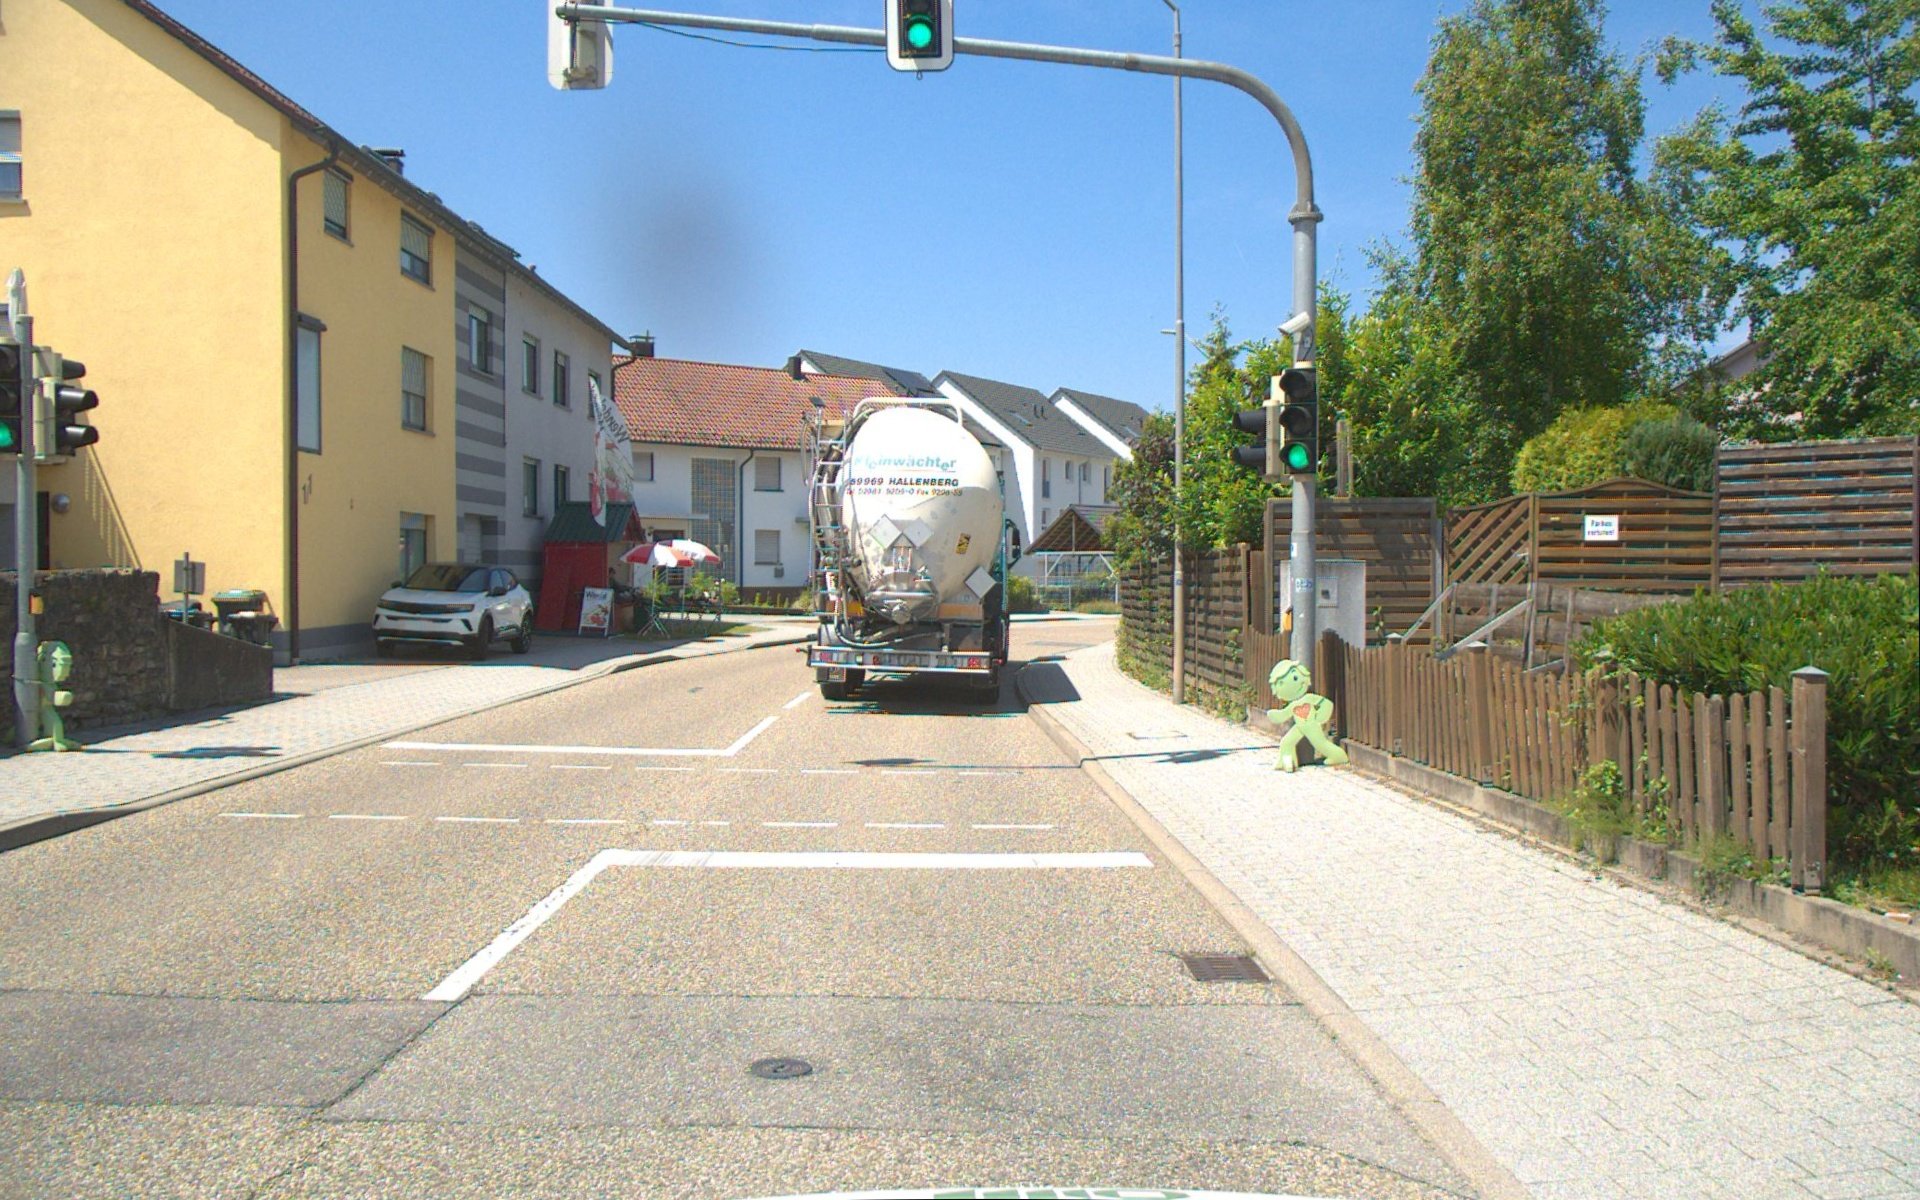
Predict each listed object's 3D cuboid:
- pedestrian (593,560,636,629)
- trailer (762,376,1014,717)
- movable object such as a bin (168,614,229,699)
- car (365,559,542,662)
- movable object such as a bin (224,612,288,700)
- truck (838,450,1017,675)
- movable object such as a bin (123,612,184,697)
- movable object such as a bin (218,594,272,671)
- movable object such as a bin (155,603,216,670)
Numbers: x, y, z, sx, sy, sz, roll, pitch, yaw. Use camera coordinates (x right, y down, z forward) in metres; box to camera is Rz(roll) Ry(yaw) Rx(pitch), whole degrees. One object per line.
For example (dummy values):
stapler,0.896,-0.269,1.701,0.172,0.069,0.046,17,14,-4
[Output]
pedestrian,-8.173,-0.125,39.091,0.600,1.615,0.807,1,0,32
trailer,-0.811,-0.719,26.051,2.892,4.016,11.620,-3,1,1
movable object such as a bin,-8.740,0.637,19.002,0.438,0.944,0.561,1,0,-2
car,-8.475,0.145,28.018,1.695,1.579,4.188,1,1,0
movable object such as a bin,-8.048,0.635,18.919,0.490,0.964,0.554,1,0,-2
truck,-0.519,-0.729,33.505,2.925,4.034,5.582,-3,0,4
movable object such as a bin,-9.242,0.616,18.956,0.438,0.954,0.531,1,0,-2
movable object such as a bin,-10.160,0.455,23.516,0.490,1.061,0.607,1,0,-2
movable object such as a bin,-10.864,0.510,23.207,0.585,0.926,0.607,0,0,-2
